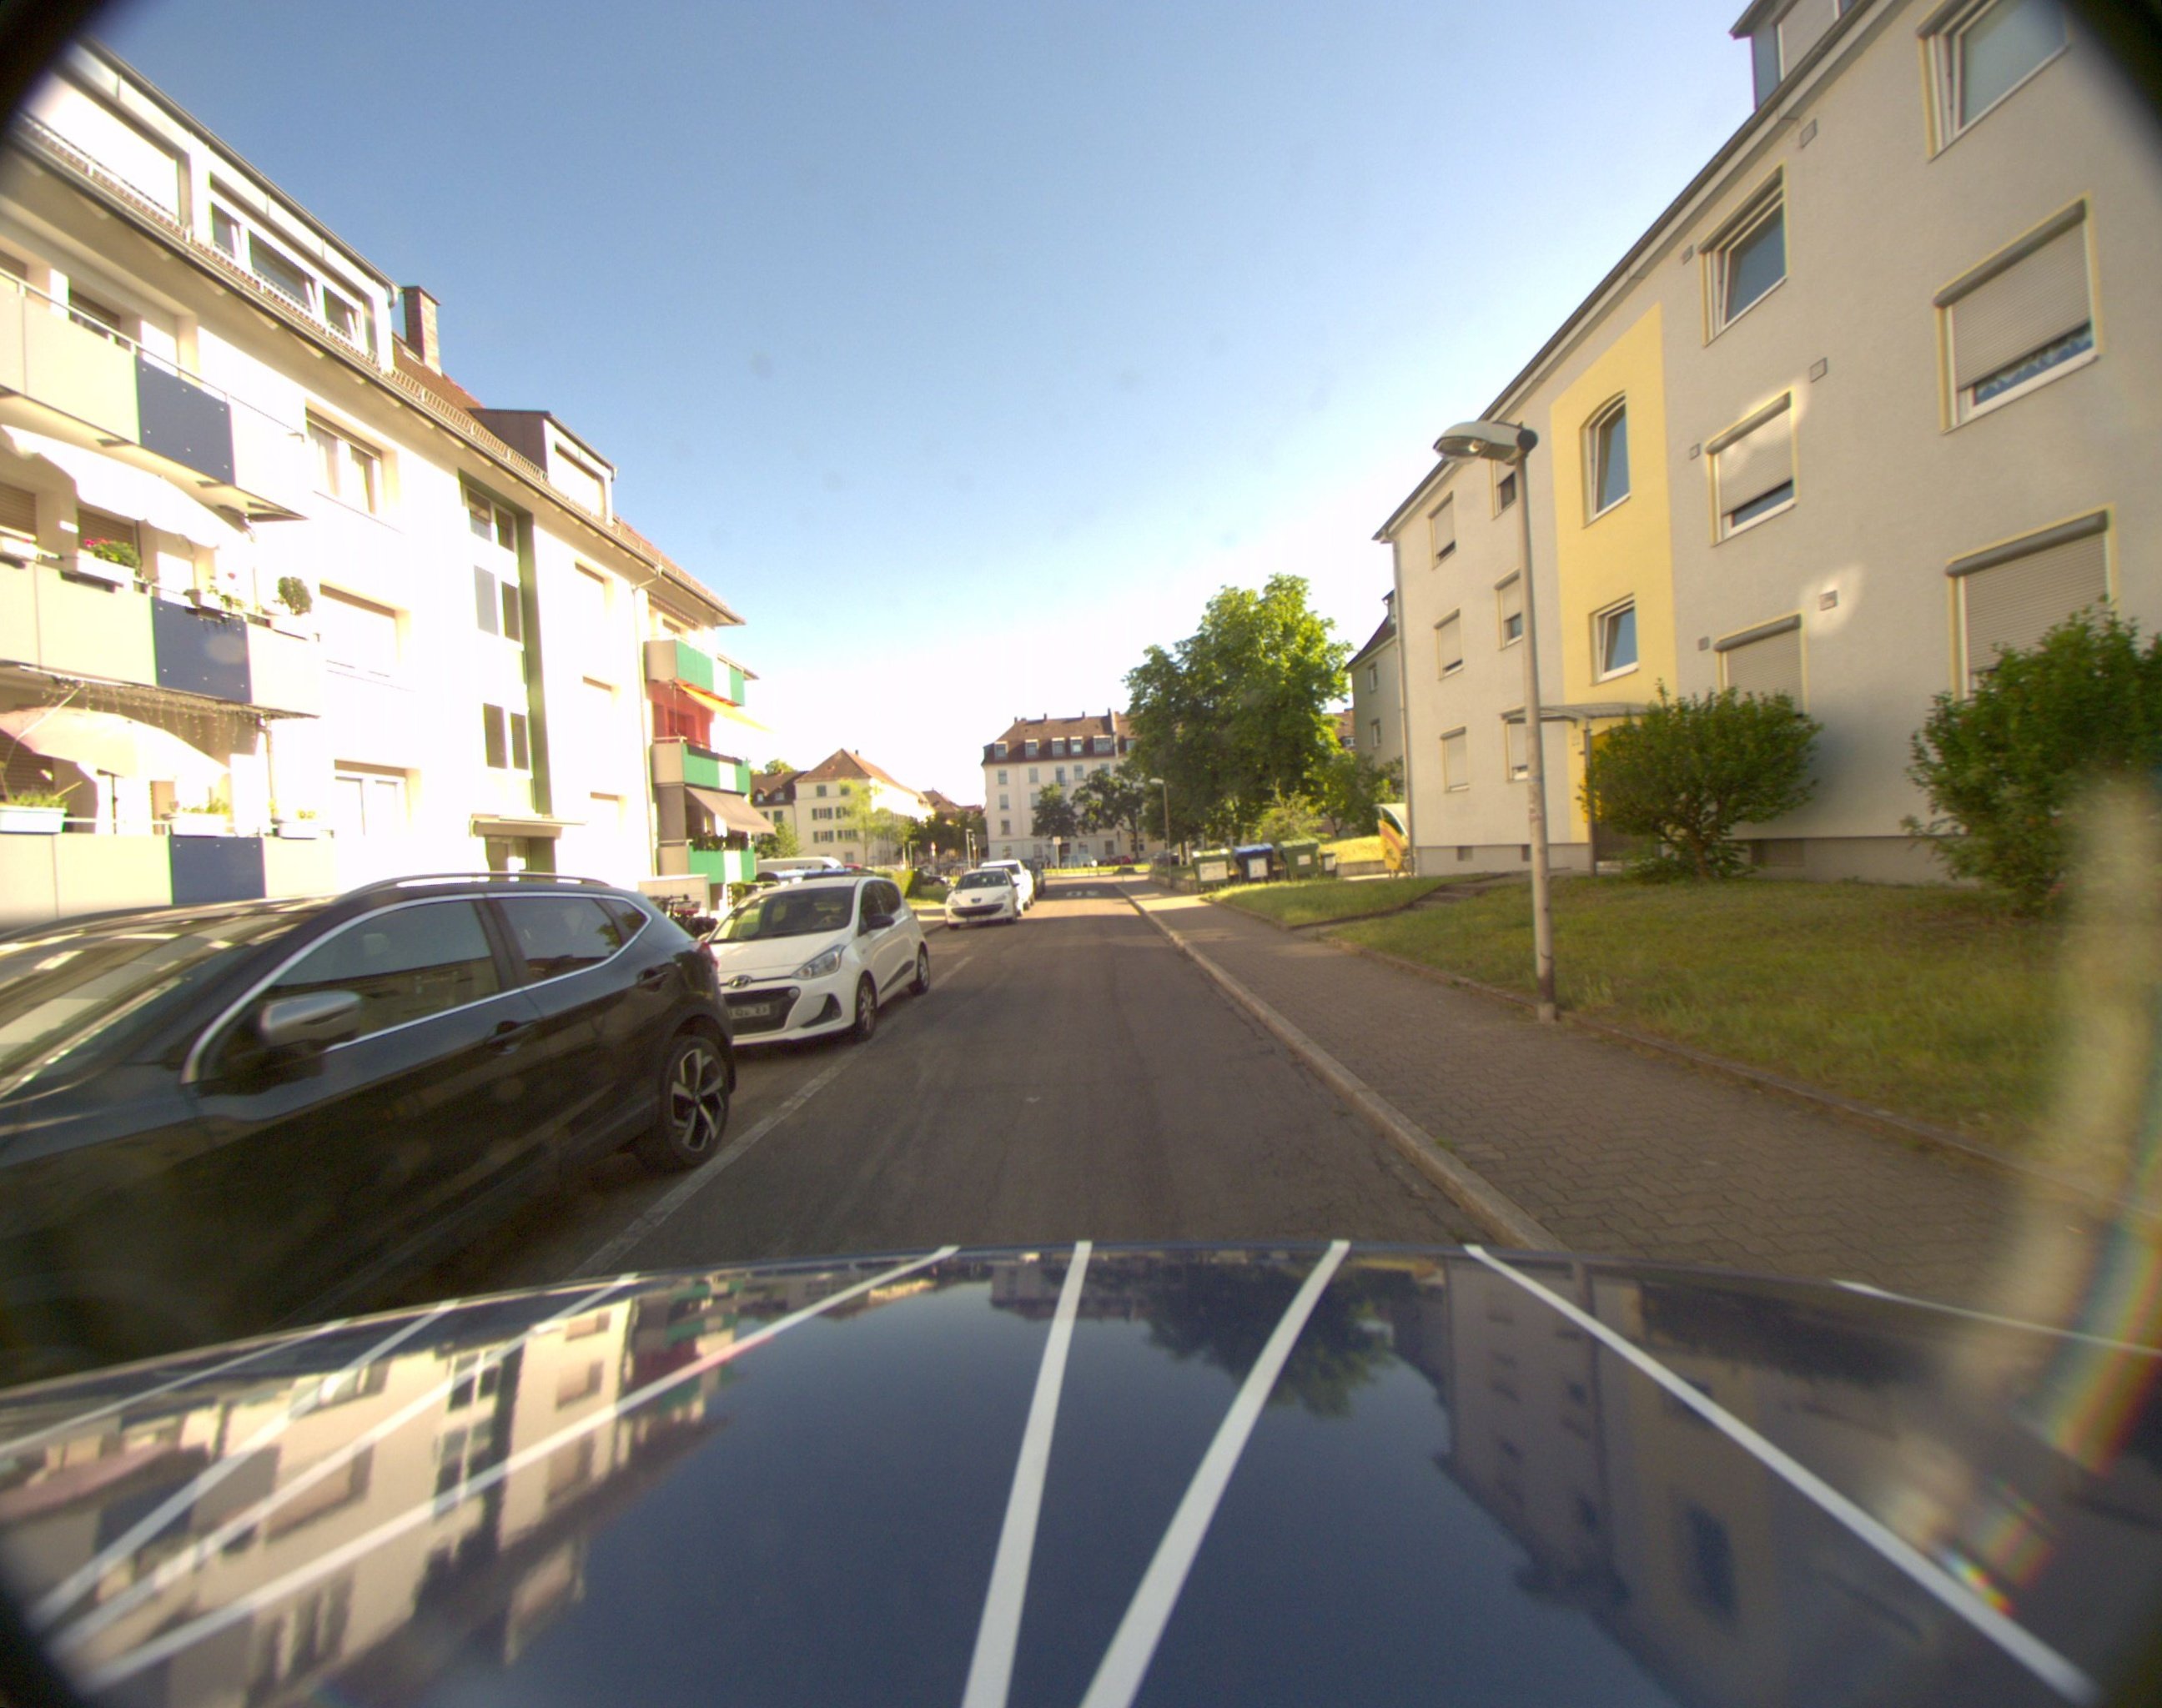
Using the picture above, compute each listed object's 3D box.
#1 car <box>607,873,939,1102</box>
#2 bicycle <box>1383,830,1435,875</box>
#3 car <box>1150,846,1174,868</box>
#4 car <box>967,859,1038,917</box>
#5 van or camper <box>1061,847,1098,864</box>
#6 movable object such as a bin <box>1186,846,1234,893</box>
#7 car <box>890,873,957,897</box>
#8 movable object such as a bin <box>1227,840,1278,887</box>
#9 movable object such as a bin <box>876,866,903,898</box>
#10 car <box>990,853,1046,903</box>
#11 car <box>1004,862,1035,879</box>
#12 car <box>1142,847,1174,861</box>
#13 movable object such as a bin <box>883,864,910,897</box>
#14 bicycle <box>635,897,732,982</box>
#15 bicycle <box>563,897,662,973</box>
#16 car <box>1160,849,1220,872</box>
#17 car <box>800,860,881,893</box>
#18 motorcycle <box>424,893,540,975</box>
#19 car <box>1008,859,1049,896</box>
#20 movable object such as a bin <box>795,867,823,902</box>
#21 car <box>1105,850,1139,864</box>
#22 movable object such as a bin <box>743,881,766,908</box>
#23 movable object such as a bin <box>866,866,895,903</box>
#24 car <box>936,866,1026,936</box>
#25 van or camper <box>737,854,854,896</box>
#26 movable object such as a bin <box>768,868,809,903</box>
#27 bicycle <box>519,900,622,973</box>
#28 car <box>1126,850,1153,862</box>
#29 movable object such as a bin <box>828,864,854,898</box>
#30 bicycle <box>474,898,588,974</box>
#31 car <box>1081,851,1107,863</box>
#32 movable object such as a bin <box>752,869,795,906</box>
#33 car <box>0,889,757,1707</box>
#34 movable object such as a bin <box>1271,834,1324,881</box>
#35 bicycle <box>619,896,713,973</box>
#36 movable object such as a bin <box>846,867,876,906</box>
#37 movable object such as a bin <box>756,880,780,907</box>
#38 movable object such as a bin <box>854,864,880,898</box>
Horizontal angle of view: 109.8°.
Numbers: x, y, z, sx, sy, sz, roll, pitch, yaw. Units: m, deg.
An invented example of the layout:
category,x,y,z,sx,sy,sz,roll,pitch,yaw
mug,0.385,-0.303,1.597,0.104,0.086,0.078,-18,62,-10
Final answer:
category,x,y,z,sx,sy,sz,roll,pitch,yaw
car,-2.750,1.085,7.836,1.717,1.501,3.853,-6,0,0
bicycle,9.876,-0.045,22.951,0.641,1.243,2.009,-4,0,1
car,6.321,0.210,59.551,1.678,1.645,3.305,-2,0,4
car,-2.506,1.038,25.387,1.805,1.583,4.581,-5,0,0
van or camper,-0.209,0.153,92.109,4.355,1.852,2.000,-2,0,-1
movable object such as a bin,4.475,0.513,26.441,1.318,1.451,1.198,-7,1,1
car,-10.416,2.054,50.438,3.996,1.342,1.802,-2,0,2
movable object such as a bin,5.955,0.309,26.497,1.358,1.451,1.082,-7,1,1
movable object such as a bin,-8.228,1.194,32.671,0.921,1.318,0.866,-3,1,-1
car,-2.615,0.962,32.338,1.855,1.790,4.253,-6,0,0
car,-5.624,1.524,69.491,1.674,1.433,3.794,-2,0,-22
car,9.259,-0.002,91.682,3.787,1.437,1.625,-2,0,2
movable object such as a bin,-8.214,1.163,33.897,0.921,1.390,0.866,-3,1,-1
bicycle,-6.491,1.357,12.528,0.546,1.163,1.873,-1,0,2
bicycle,-8.152,1.369,13.320,0.545,1.114,1.873,-2,0,0
car,8.072,0.456,56.382,4.140,1.488,1.729,-2,0,0
car,-17.112,1.595,54.217,4.992,2.002,2.000,-3,0,3
motorcycle,-10.597,1.375,13.548,0.442,1.231,1.976,-2,0,0
car,-2.554,1.134,37.961,1.728,1.528,3.951,-6,0,-1
movable object such as a bin,-12.201,1.346,34.098,0.866,1.511,0.922,-2,1,-1
car,4.966,0.346,91.746,3.996,1.477,1.722,-2,0,2
movable object such as a bin,-12.748,1.572,29.680,0.628,1.047,0.580,0,1,-2
movable object such as a bin,-8.275,1.241,31.428,0.921,1.439,0.866,-3,1,-1
car,-2.480,1.131,19.820,1.695,1.410,4.097,-5,0,0
van or camper,-19.110,1.391,51.086,6.980,2.486,2.177,-2,1,2
movable object such as a bin,-12.648,1.344,32.946,1.239,1.439,1.278,-2,1,-2
bicycle,-8.869,1.393,13.298,0.539,1.076,1.873,0,0,0
car,7.481,0.260,97.345,3.192,1.311,1.545,-2,0,0
movable object such as a bin,-10.716,1.198,33.963,0.866,1.439,0.922,-2,1,-4
bicycle,-9.597,1.392,13.362,0.598,1.109,1.873,-2,0,0
car,1.609,0.380,96.952,3.192,1.499,1.545,-2,1,0
movable object such as a bin,-12.735,1.386,31.538,1.239,1.439,1.278,-2,1,-2
car,-2.867,1.041,2.449,1.728,1.569,4.352,-2,0,0
movable object such as a bin,7.540,0.134,26.507,1.363,1.445,1.073,-7,1,1
bicycle,-7.197,1.361,13.279,0.579,1.126,1.873,-1,0,0
movable object such as a bin,-8.679,1.273,30.021,0.866,1.439,0.922,-2,1,-4
movable object such as a bin,-12.521,1.560,30.393,0.718,1.047,0.580,0,1,-2
movable object such as a bin,-9.603,1.194,34.107,0.866,1.439,0.922,-2,1,-4
